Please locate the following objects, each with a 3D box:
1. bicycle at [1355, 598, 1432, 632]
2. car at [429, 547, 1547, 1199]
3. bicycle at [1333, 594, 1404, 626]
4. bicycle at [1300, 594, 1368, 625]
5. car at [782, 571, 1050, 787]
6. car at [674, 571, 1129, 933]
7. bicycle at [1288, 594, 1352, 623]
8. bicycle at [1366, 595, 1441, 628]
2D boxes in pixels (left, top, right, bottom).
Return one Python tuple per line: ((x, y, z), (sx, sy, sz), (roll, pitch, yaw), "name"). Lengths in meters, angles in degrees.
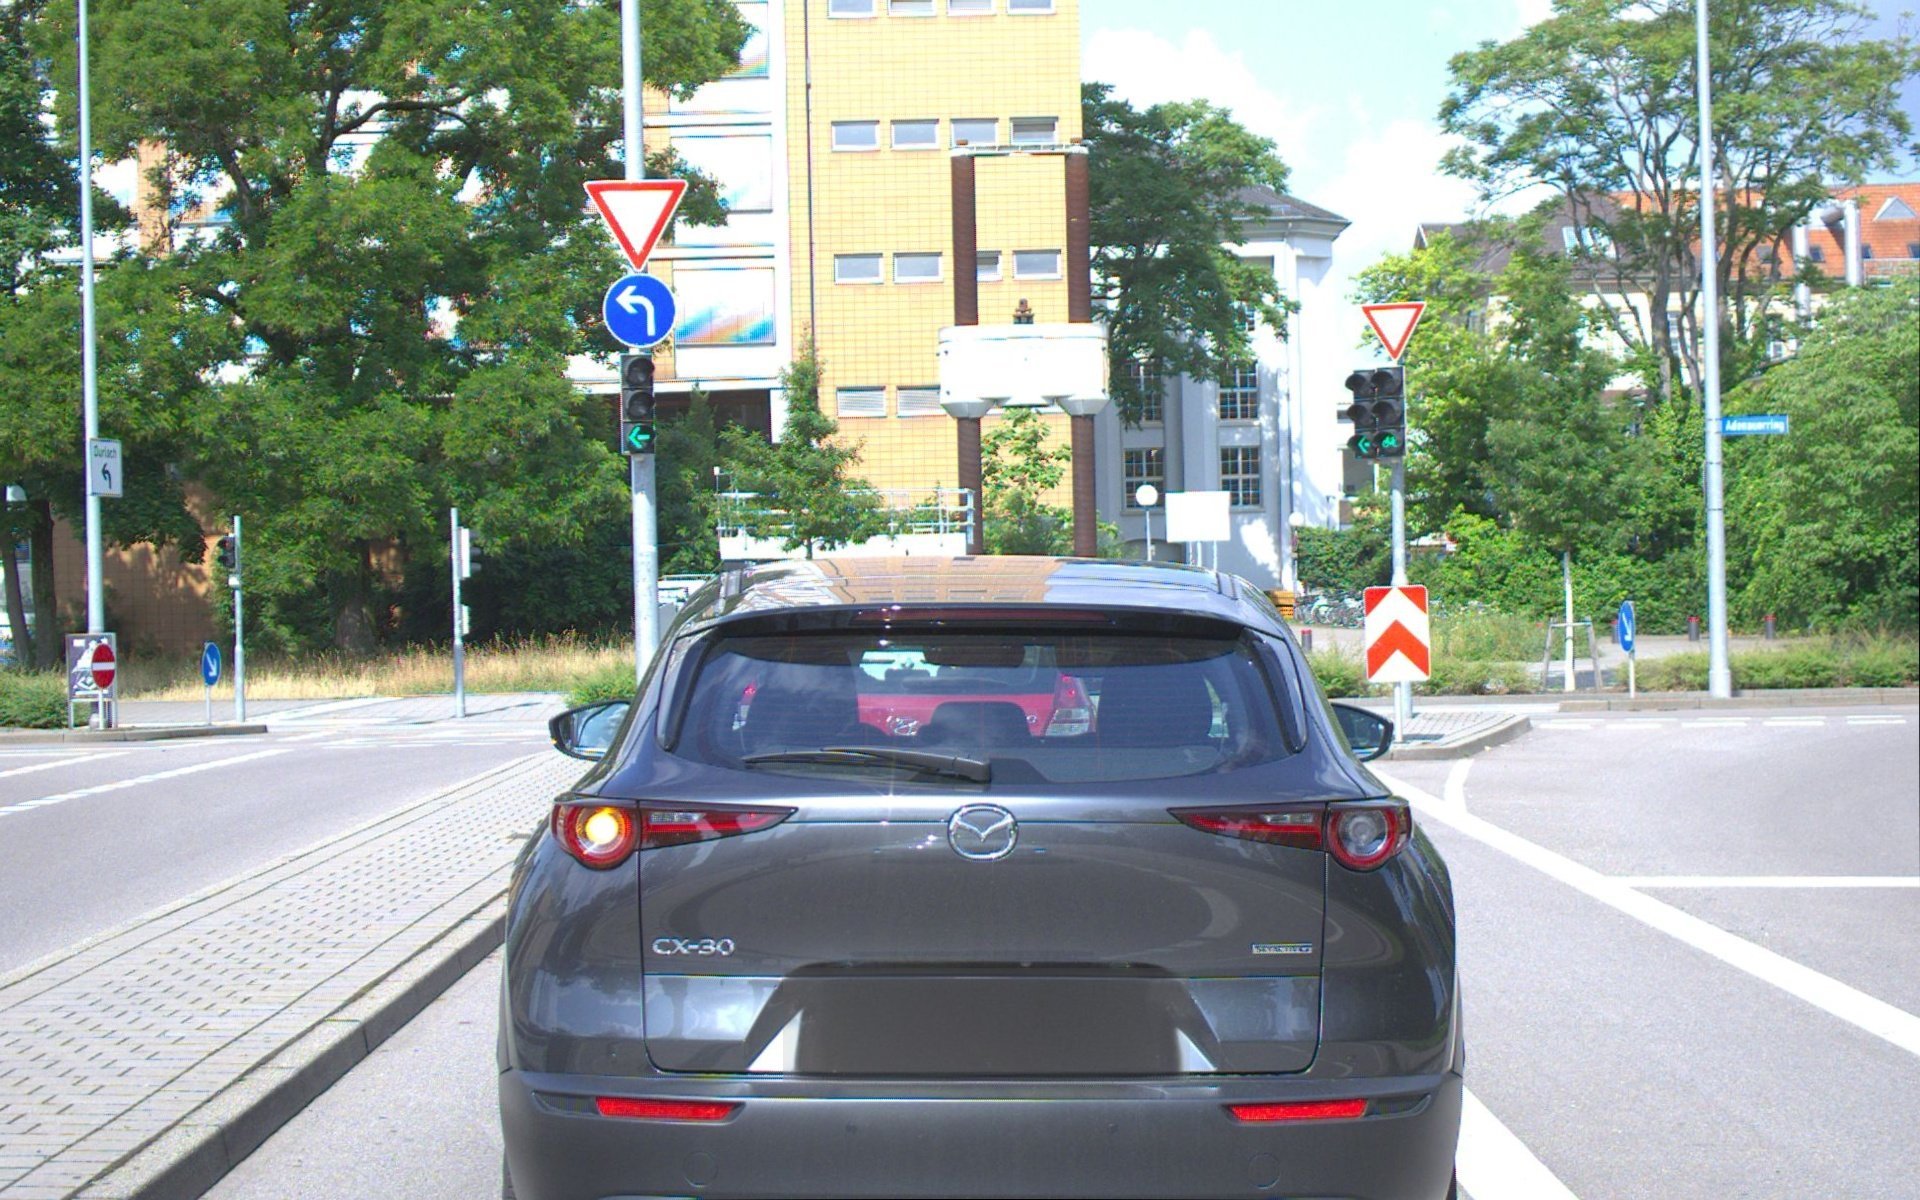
((12.363, 0.432, 98.052), (2.055, 0.933, 0.804), (-1, 0, -1), "bicycle")
((0.017, 0.670, 7.727), (1.806, 1.503, 4.205), (1, 0, -1), "car")
((12.538, 0.315, 105.481), (2.055, 0.933, 0.804), (-1, 0, -1), "bicycle")
((11.990, 0.294, 110.245), (2.055, 0.933, 0.804), (-1, 0, -1), "bicycle")
((-0.289, 0.548, 26.338), (1.848, 1.467, 4.335), (-2, 0, 1), "car")
((-0.171, 0.603, 15.886), (1.816, 1.434, 4.067), (1, 0, 2), "car")
((12.051, 0.278, 115.104), (2.055, 0.933, 0.804), (-1, 0, -1), "bicycle")
((13.006, 0.336, 100.881), (2.055, 0.933, 0.804), (-1, 0, -1), "bicycle")
